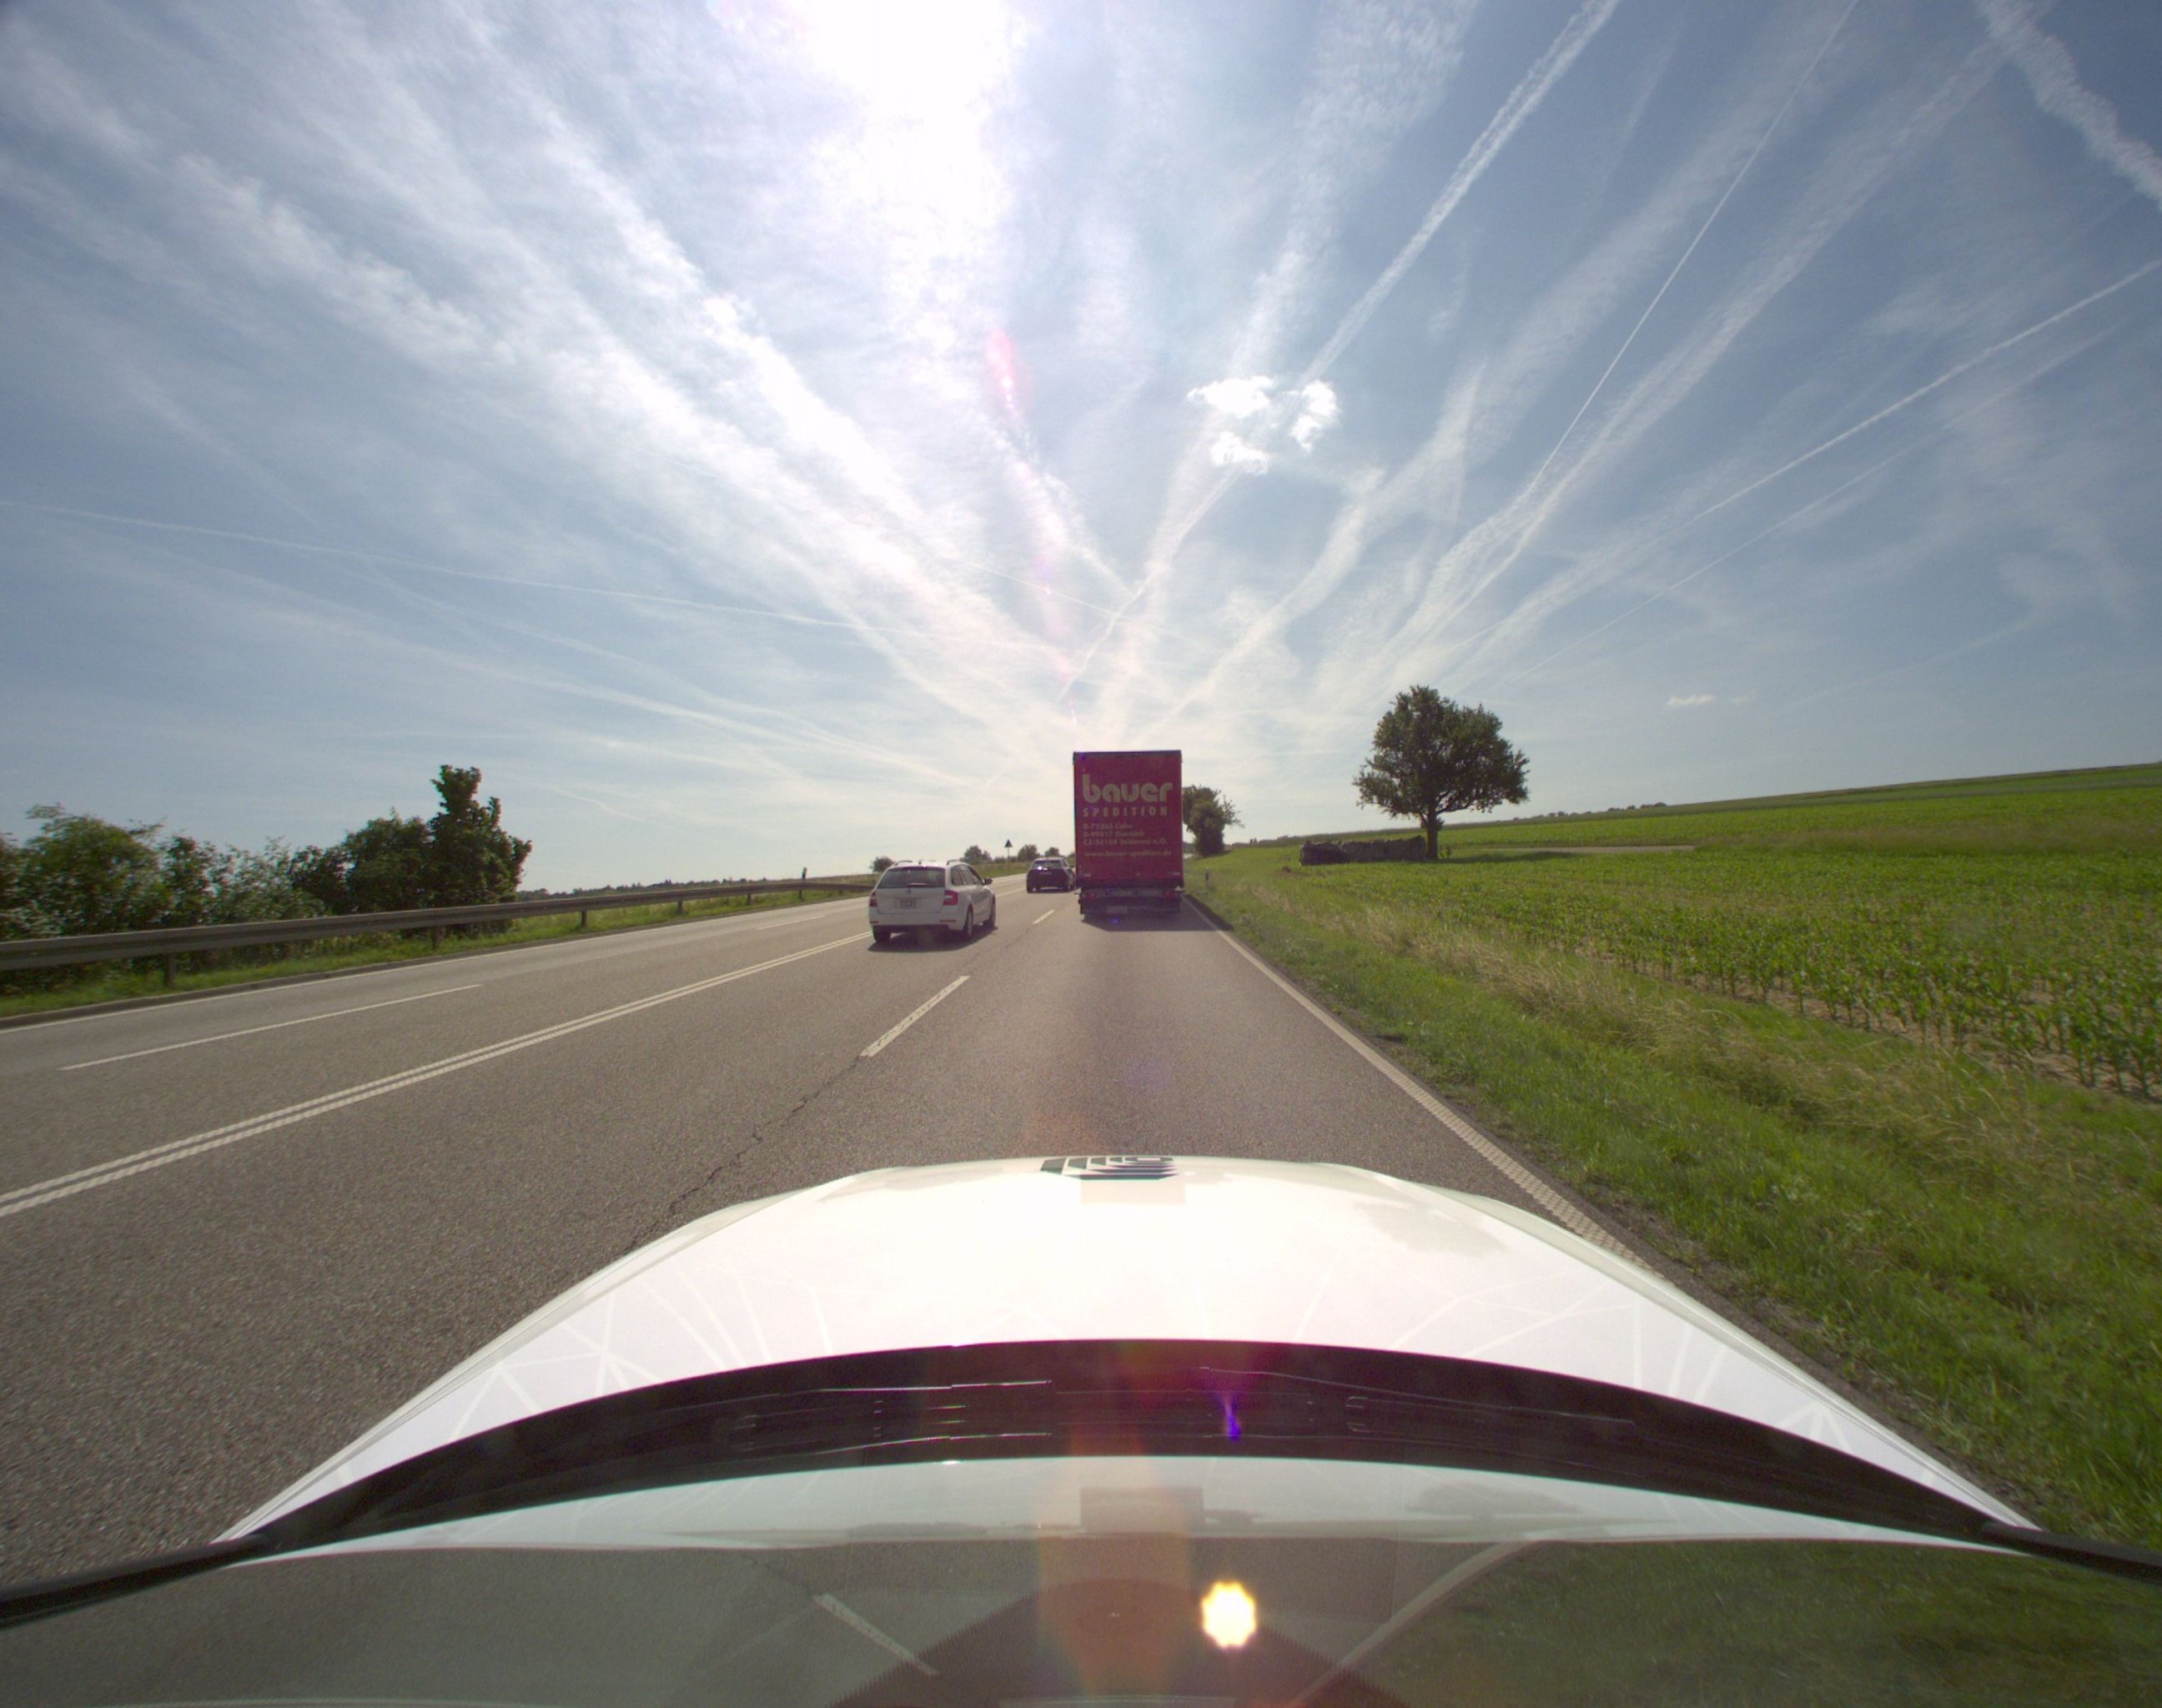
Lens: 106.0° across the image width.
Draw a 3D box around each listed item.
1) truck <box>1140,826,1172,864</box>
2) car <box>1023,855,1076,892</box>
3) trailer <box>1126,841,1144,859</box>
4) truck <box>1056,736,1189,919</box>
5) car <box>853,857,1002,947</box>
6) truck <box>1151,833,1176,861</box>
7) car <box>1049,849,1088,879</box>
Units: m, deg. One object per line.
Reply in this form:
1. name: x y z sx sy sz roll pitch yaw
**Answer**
1. truck: 8.774 -0.960 93.686 3.031 3.910 15.645 -2 0 7
2. car: -1.287 0.791 35.509 1.697 1.472 4.817 -1 0 5
3. trailer: 12.925 -0.983 193.610 2.530 4.101 13.620 -3 0 10
4. truck: 1.564 -0.580 27.033 2.993 4.180 16.733 -1 0 4
5. car: -2.832 0.823 16.187 1.813 1.472 4.792 -1 0 3
6. truck: 13.040 -1.007 127.251 3.030 3.910 18.437 -2 0 8
7. car: -0.785 0.642 54.807 1.896 1.884 5.440 -1 0 6
